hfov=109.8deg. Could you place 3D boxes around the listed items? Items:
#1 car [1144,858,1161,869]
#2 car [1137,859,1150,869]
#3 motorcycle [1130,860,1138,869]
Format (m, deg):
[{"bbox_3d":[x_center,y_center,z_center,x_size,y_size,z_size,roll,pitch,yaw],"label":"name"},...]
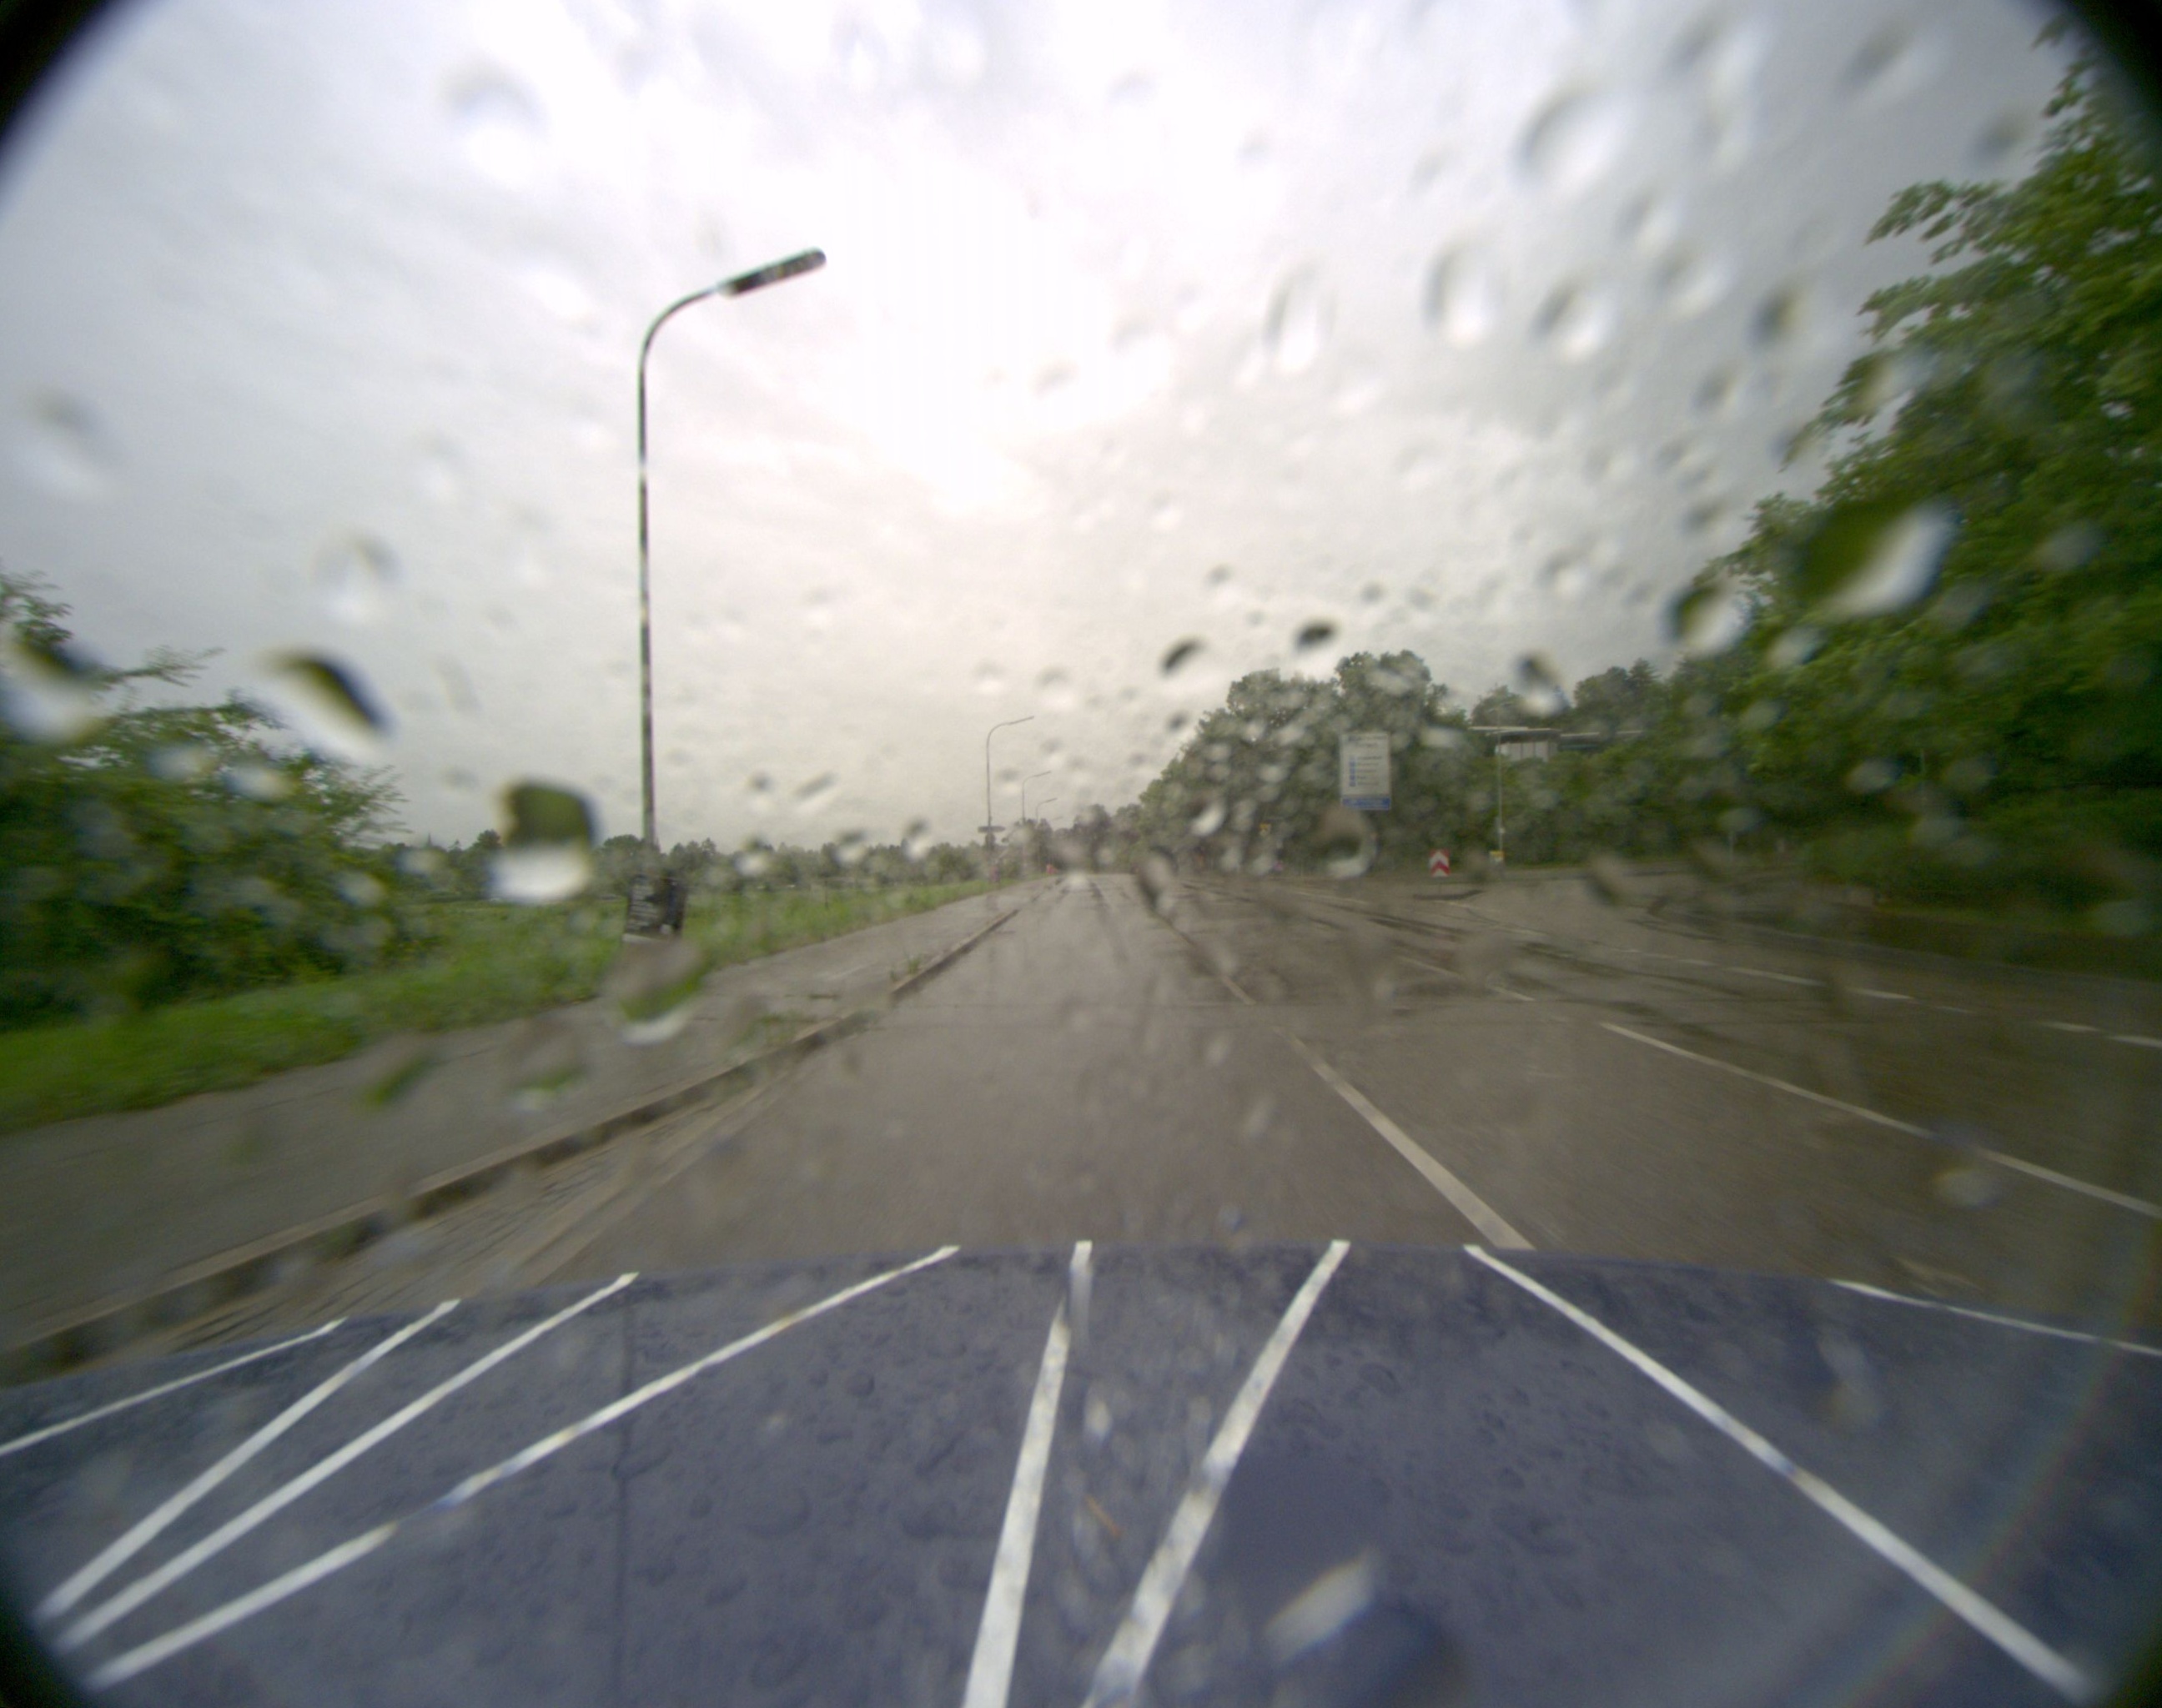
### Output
[{"bbox_3d":[10.314,1.349,109.260,1.691,1.411,4.740,-1,0,-3],"label":"car"},{"bbox_3d":[9.733,1.595,118.349,1.438,1.528,2.817,-1,0,-10],"label":"car"},{"bbox_3d":[8.658,1.748,125.081,0.840,1.333,2.497,-1,0,-8],"label":"motorcycle"}]
